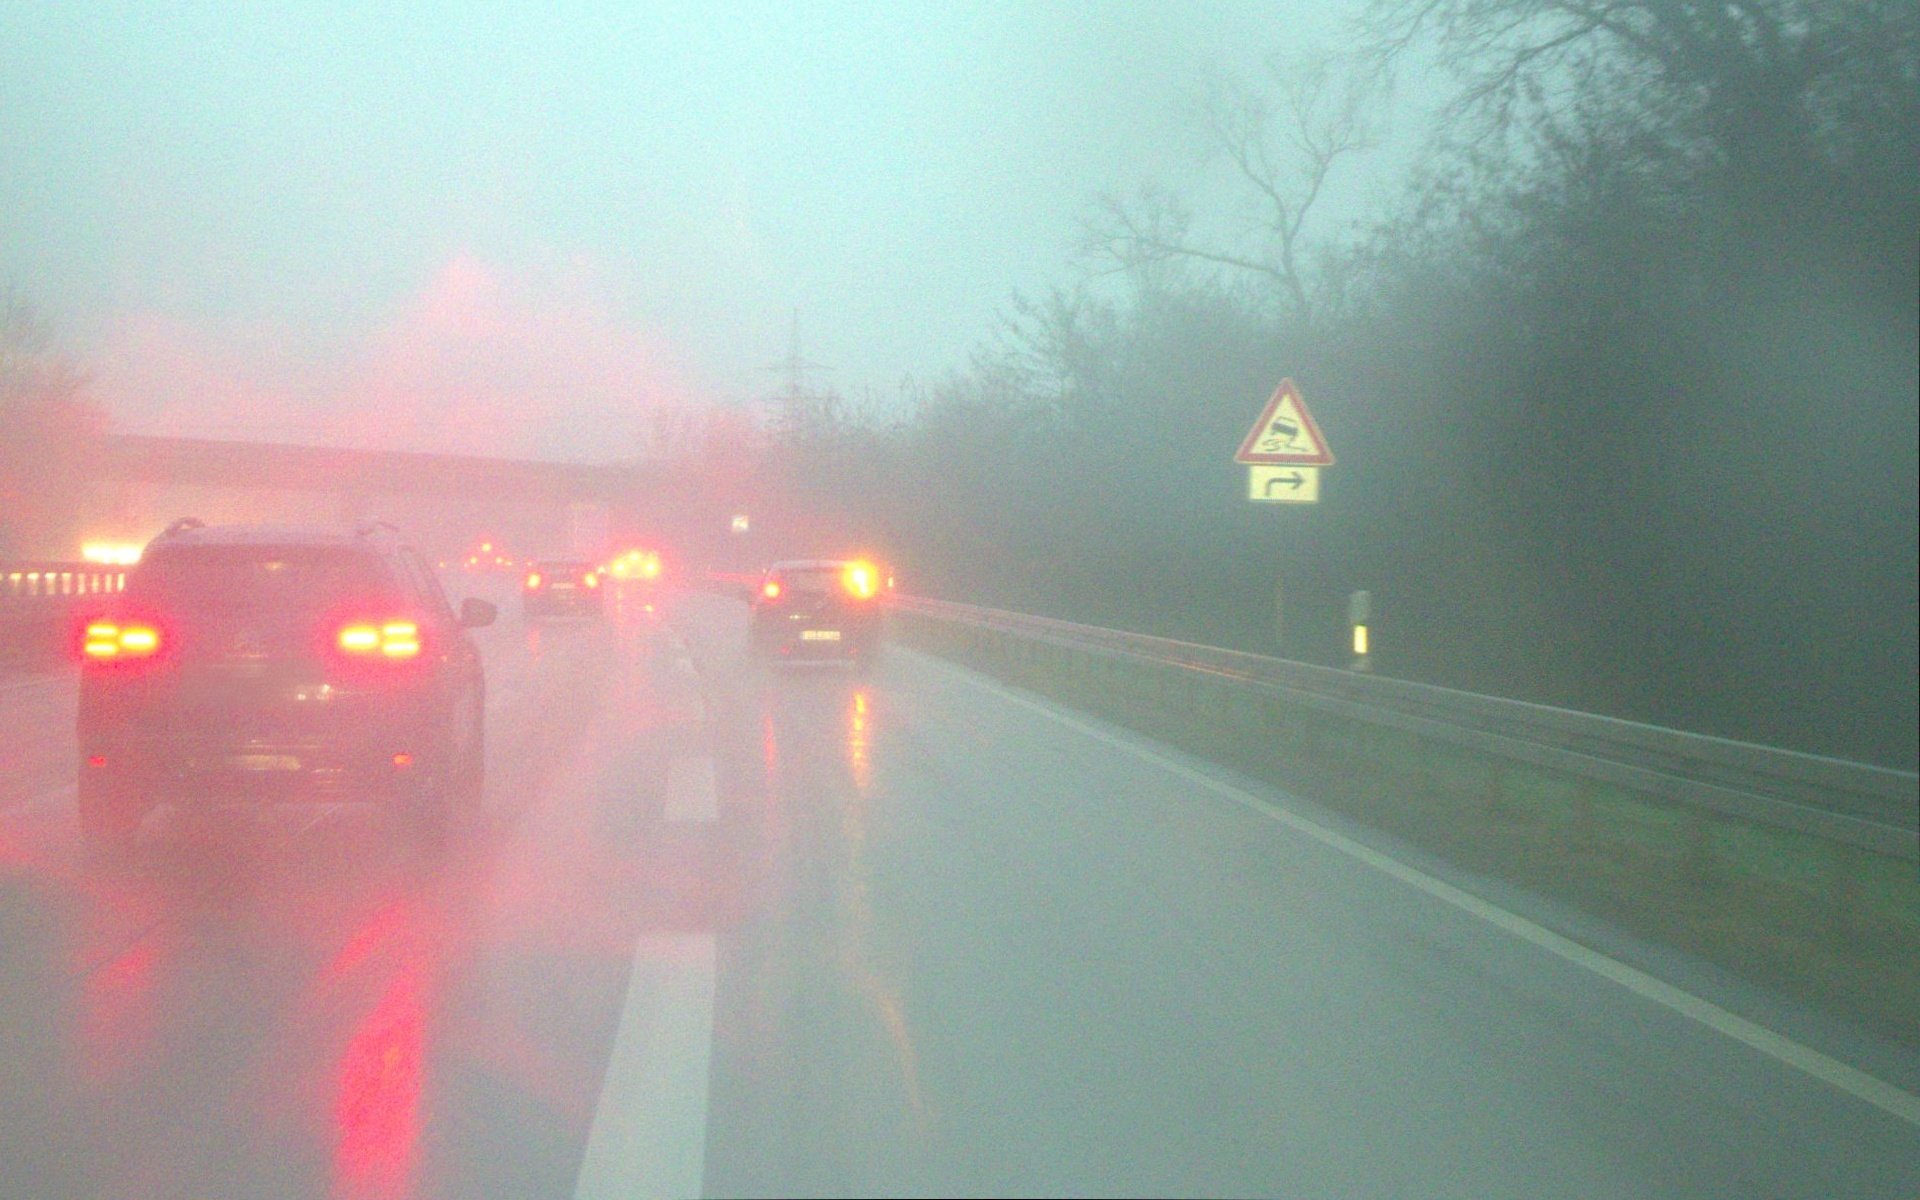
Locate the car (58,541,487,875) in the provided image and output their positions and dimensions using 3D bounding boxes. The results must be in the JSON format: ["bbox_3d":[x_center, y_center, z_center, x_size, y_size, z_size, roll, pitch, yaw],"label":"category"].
[{"bbox_3d":[-3.703,0.509,19.169,1.993,1.659,4.001,0,1,-6],"label":"car"}]

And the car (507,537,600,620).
[{"bbox_3d":[-8.907,-0.496,75.153,1.878,1.612,3.876,2,2,-8],"label":"car"}]

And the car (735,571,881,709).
[{"bbox_3d":[-2.067,0.493,45.865,1.731,1.424,3.767,0,6,-6],"label":"car"}]
